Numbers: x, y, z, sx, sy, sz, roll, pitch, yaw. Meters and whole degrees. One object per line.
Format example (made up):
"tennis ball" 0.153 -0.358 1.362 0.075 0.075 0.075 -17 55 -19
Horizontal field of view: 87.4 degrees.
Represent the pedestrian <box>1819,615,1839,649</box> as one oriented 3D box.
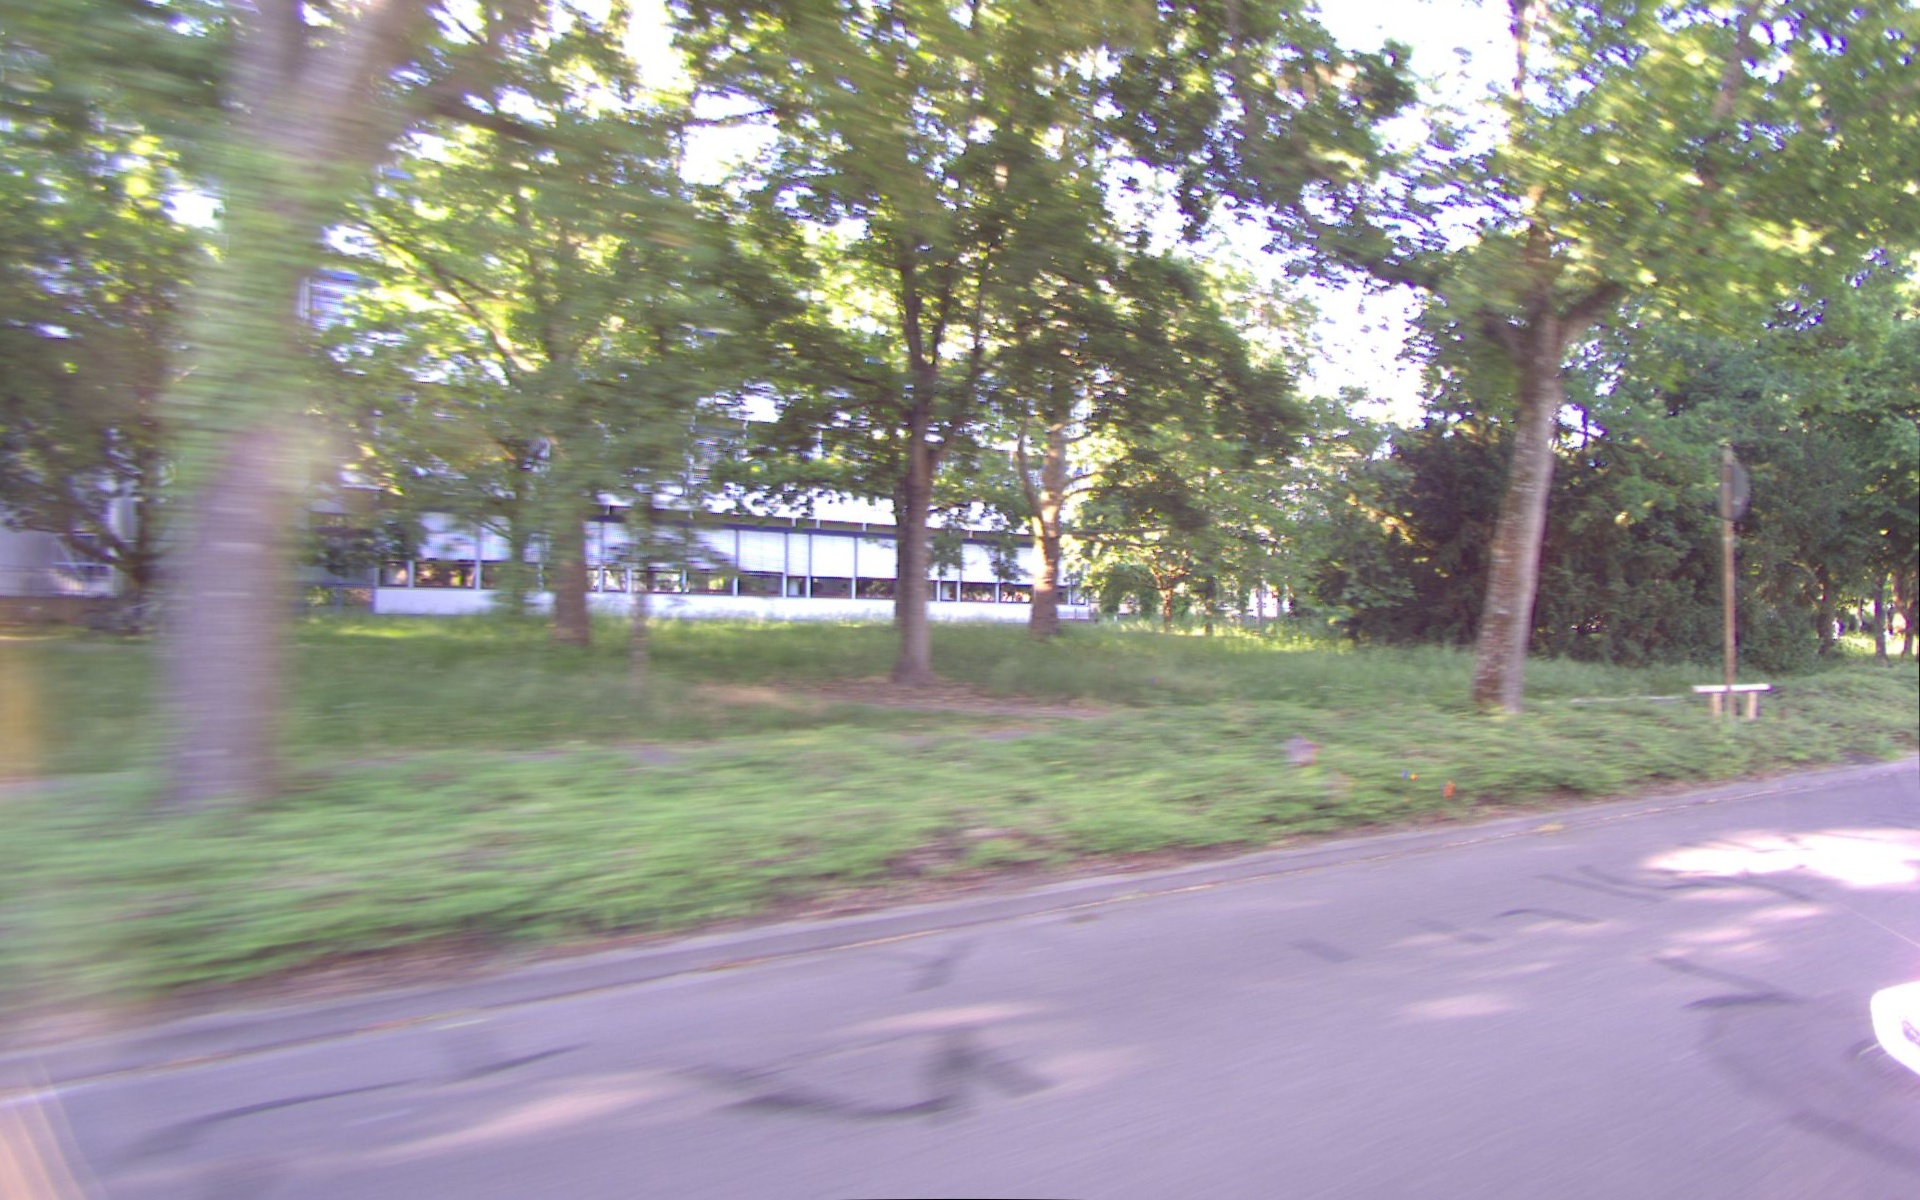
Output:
"pedestrian" 52.862 1.965 61.117 0.584 2.040 0.751 2 1 -34
